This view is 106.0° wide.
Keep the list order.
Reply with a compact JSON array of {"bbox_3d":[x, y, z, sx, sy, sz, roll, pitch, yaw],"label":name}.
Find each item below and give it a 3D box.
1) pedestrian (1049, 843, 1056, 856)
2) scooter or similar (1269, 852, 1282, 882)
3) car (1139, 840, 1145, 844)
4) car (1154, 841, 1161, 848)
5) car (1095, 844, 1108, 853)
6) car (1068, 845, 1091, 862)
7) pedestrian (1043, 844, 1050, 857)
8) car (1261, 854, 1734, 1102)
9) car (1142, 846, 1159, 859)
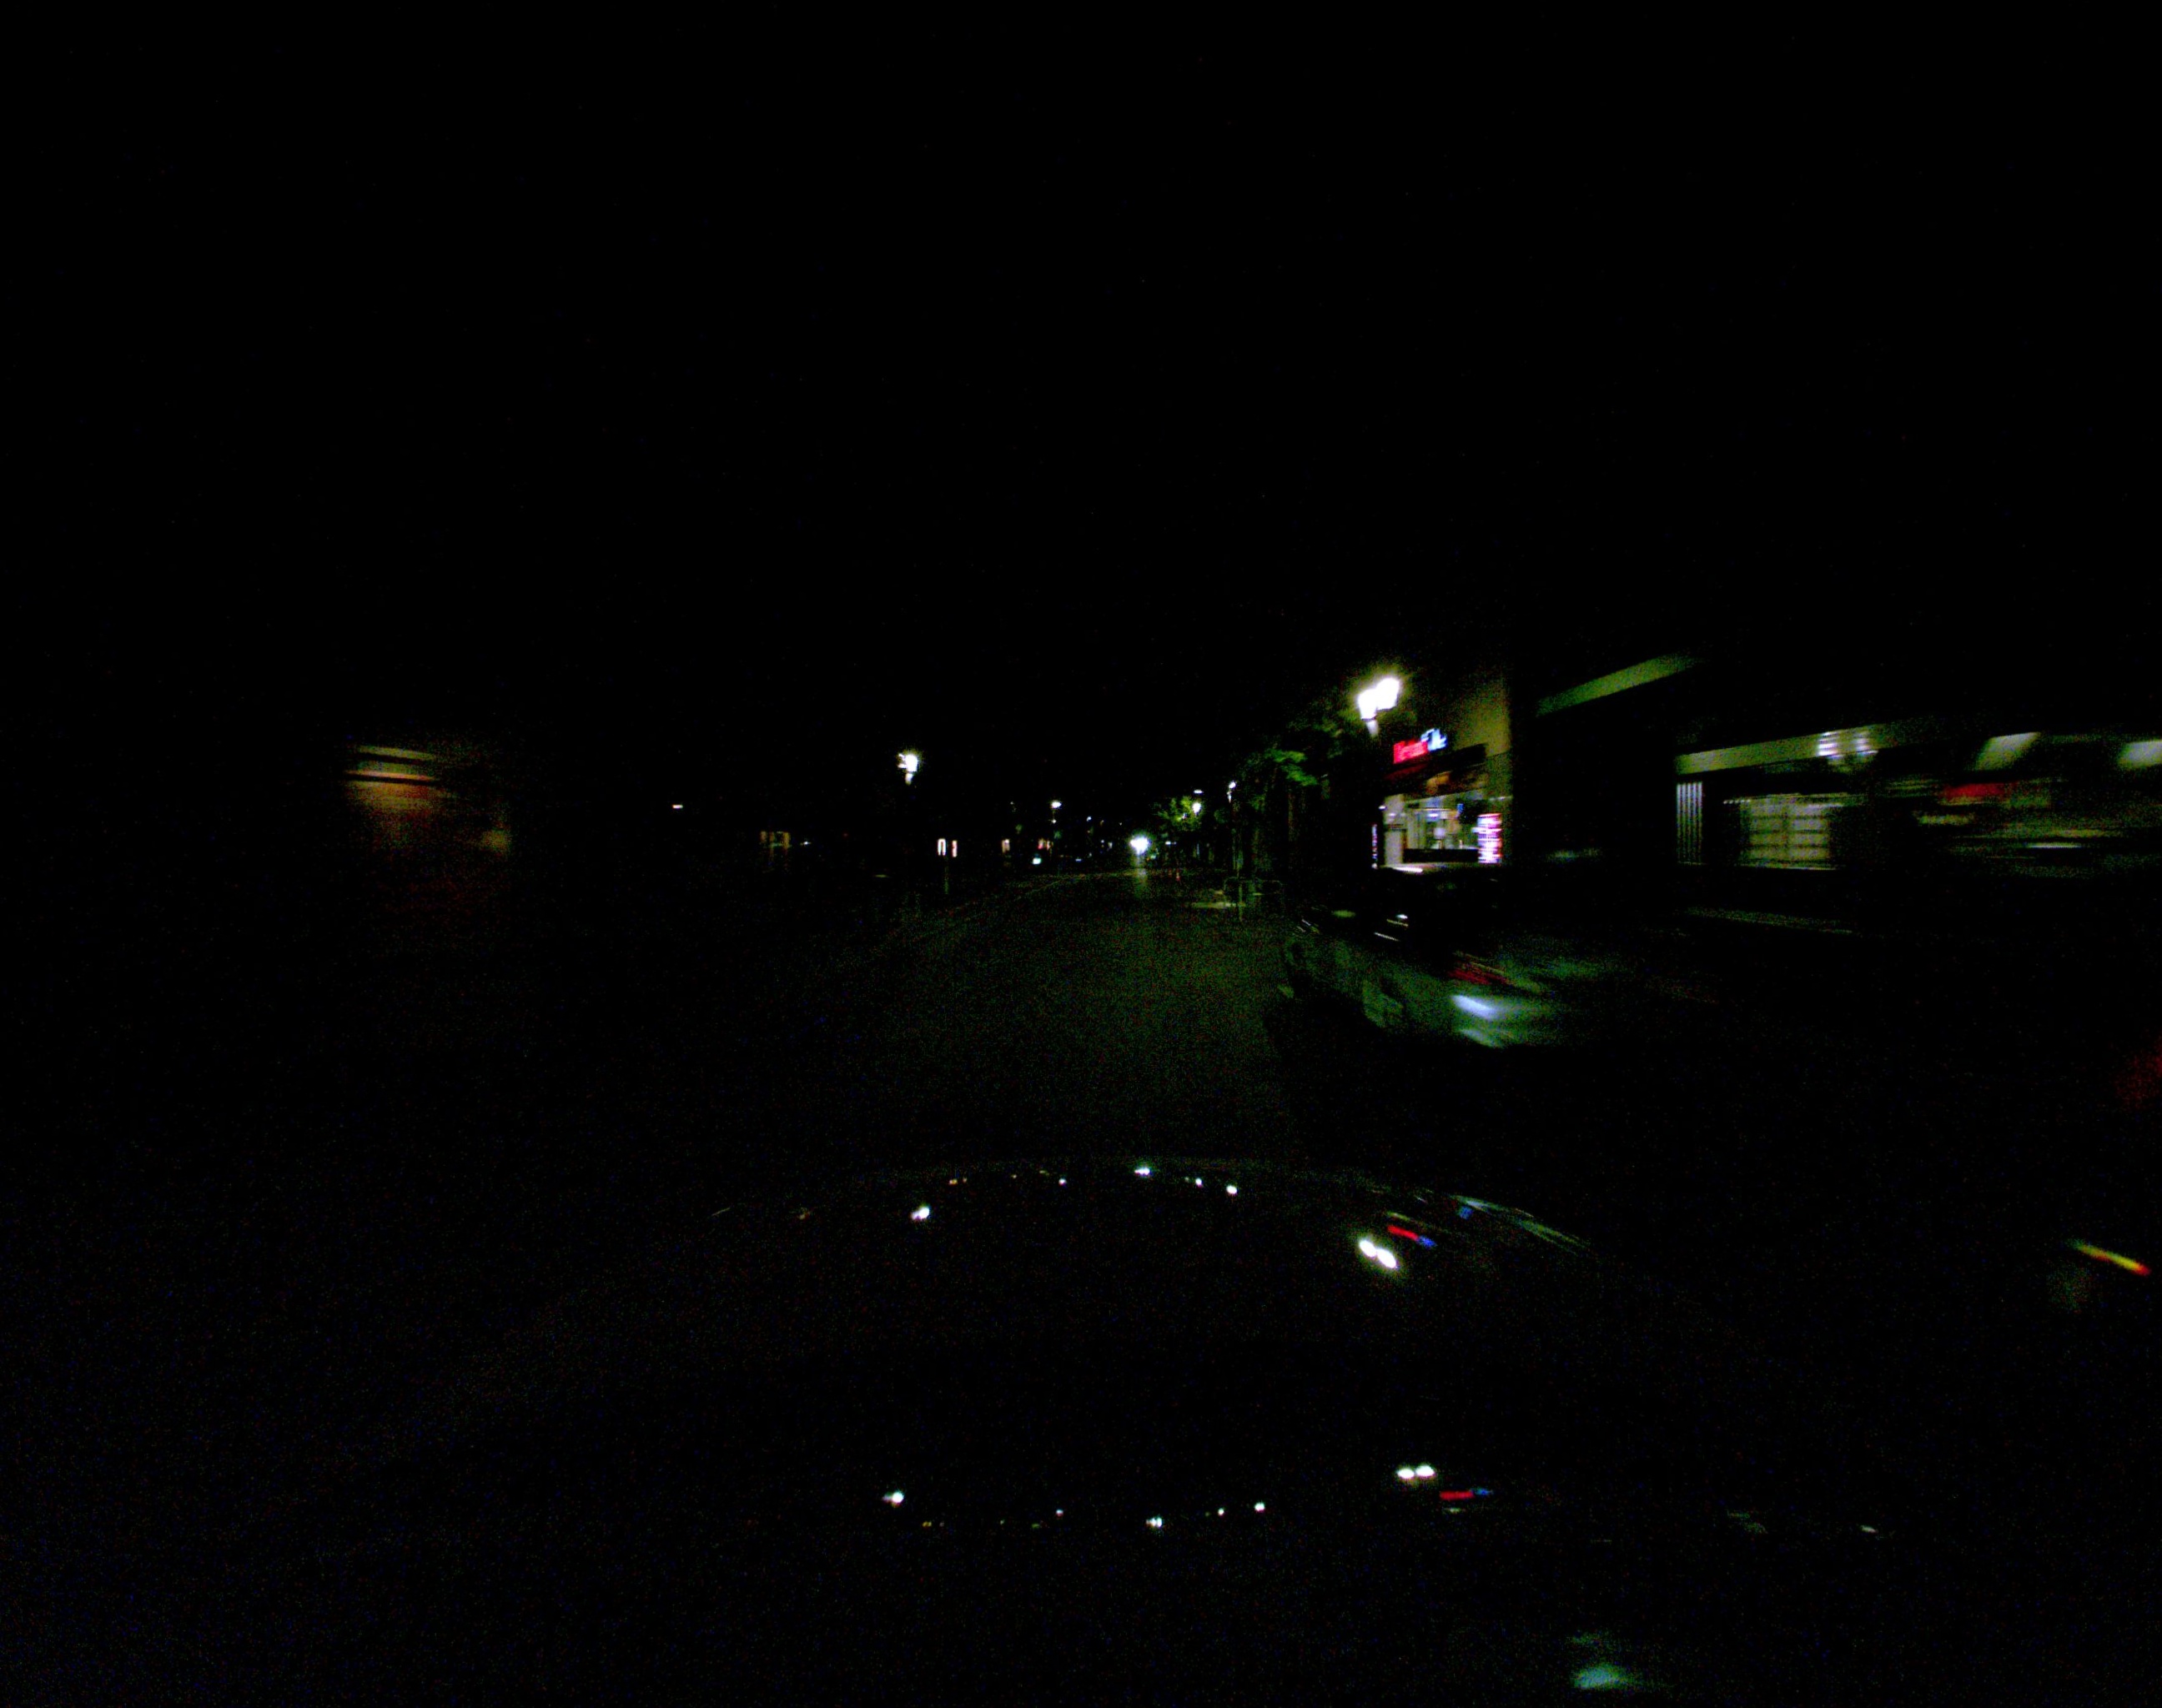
[{"bbox_3d":[-3.599,-0.588,103.746,0.765,1.656,0.783,-1,2,5],"label":"pedestrian"},{"bbox_3d":[8.576,0.568,35.895,0.371,1.277,1.307,-1,-1,5],"label":"scooter or similar"},{"bbox_3d":[18.348,-3.703,246.663,1.715,1.246,4.244,-1,1,5],"label":"car"},{"bbox_3d":[17.969,-2.228,191.458,1.767,1.652,4.371,-1,1,5],"label":"car"},{"bbox_3d":[3.469,-0.928,138.746,1.905,1.370,4.465,-1,1,6],"label":"car"},{"bbox_3d":[-0.099,-0.052,84.711,2.008,1.691,5.009,1,1,4],"label":"car"},{"bbox_3d":[-4.385,-0.473,103.838,0.765,1.656,0.818,-1,2,5],"label":"pedestrian"},{"bbox_3d":[2.981,0.731,7.084,1.729,1.441,4.494,-1,0,-1],"label":"car"},{"bbox_3d":[7.704,-0.179,90.019,1.668,1.459,3.677,-1,1,2],"label":"car"}]
